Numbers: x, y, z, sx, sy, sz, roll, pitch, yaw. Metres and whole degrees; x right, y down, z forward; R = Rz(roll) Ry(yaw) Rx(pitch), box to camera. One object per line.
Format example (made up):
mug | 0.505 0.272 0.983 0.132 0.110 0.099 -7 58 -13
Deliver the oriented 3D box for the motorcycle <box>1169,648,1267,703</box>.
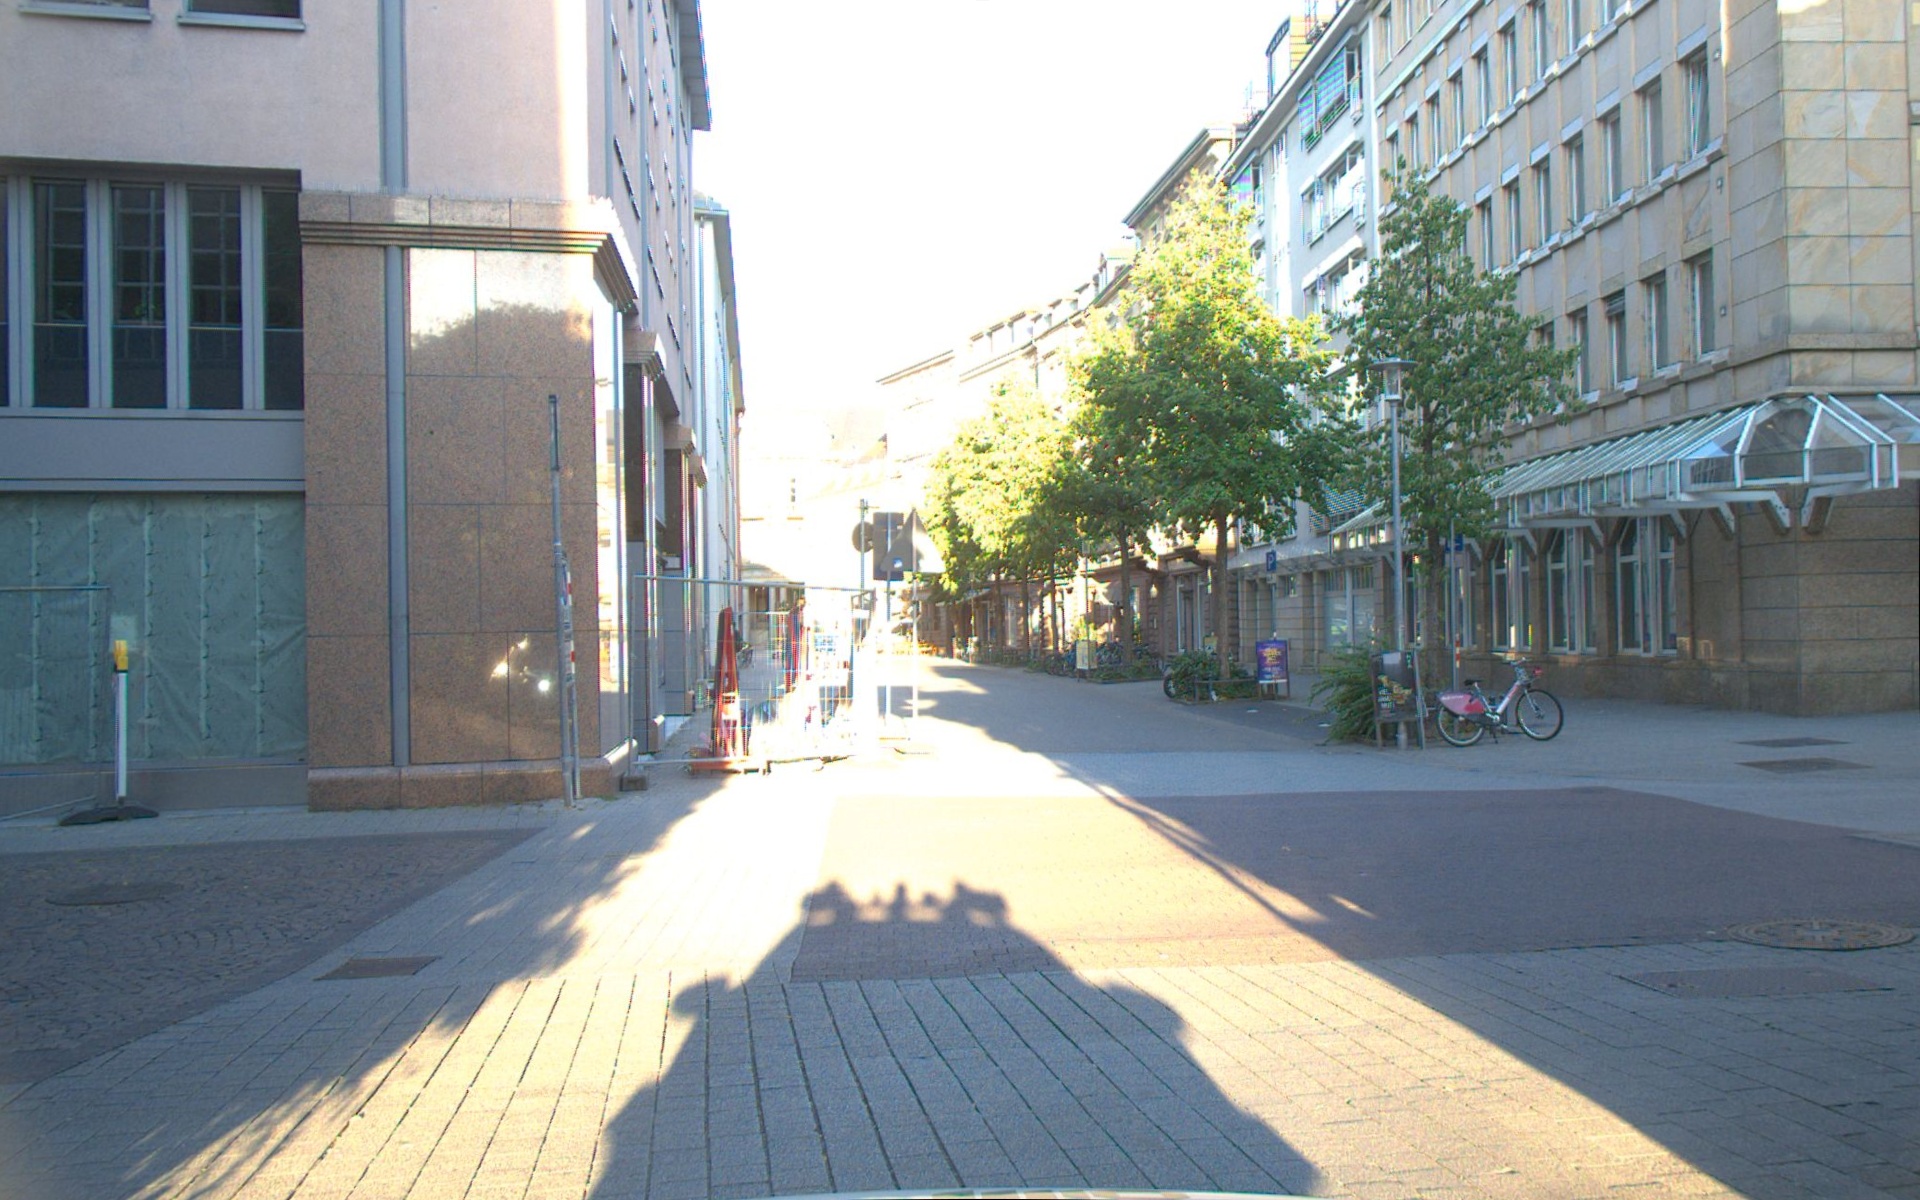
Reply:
motorcycle | 5.874 1.712 37.708 2.112 1.171 0.493 -2 -2 -7

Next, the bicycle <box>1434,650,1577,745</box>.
bicycle | 7.008 1.258 21.317 1.621 1.069 0.663 -5 -1 14

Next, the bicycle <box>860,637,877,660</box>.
bicycle | -4.658 2.479 84.134 0.578 1.114 2.155 -2 -2 -9

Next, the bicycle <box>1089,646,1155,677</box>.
bicycle | 5.398 2.047 55.209 2.121 0.942 0.587 -1 -2 -20

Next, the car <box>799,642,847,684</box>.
car | -6.056 2.749 72.681 1.808 1.713 3.636 -2 -1 -9

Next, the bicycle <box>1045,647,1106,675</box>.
bicycle | 4.228 2.222 60.395 2.115 0.942 0.589 -2 -2 -12

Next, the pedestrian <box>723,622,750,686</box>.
pedestrian | -6.383 1.529 47.246 0.641 1.795 0.634 -2 -1 0

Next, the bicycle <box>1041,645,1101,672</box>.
bicycle | 4.122 2.168 61.425 2.115 0.942 0.589 -2 -2 -12

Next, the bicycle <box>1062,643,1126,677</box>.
bicycle | 4.616 2.069 56.945 2.107 1.080 0.591 -2 -2 10

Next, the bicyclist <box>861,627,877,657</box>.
bicyclist | -4.629 2.132 84.023 0.708 1.494 0.716 -1 -1 -9

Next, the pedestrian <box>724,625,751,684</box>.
pedestrian | -6.457 1.578 47.950 0.641 1.680 0.634 -2 -1 0

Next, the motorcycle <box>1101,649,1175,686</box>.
motorcycle | 5.822 2.215 54.082 2.441 1.114 0.585 -1 -2 -27

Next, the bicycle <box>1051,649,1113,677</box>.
bicycle | 4.364 2.258 59.274 2.115 0.942 0.589 -2 -2 -12
